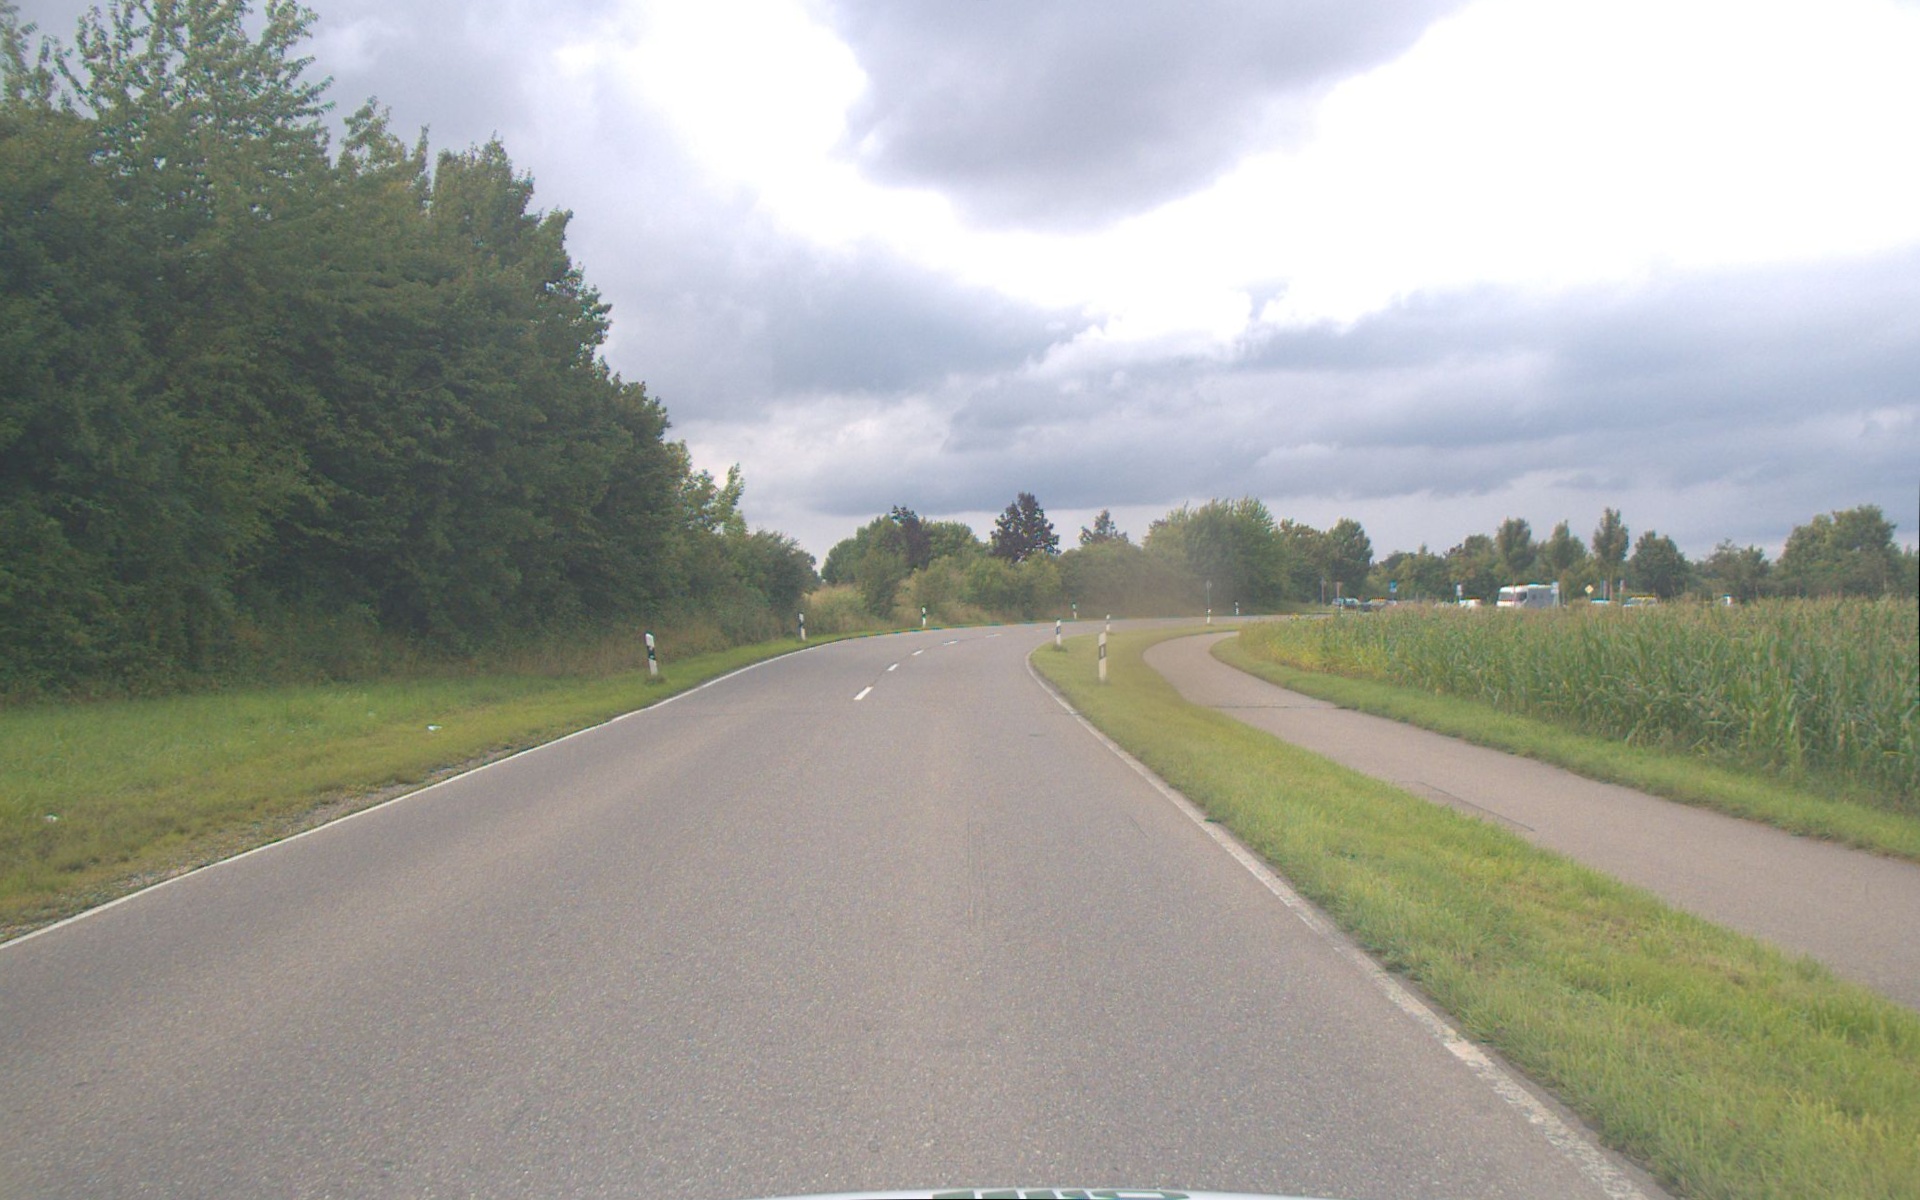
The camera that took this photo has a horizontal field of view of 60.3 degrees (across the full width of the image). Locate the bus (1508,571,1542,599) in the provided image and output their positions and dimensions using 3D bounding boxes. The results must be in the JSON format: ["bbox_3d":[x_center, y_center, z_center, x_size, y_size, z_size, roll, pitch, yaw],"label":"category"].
[{"bbox_3d":[56.587,-1.494,165.527,2.426,2.758,8.425,0,0,25],"label":"bus"}]
